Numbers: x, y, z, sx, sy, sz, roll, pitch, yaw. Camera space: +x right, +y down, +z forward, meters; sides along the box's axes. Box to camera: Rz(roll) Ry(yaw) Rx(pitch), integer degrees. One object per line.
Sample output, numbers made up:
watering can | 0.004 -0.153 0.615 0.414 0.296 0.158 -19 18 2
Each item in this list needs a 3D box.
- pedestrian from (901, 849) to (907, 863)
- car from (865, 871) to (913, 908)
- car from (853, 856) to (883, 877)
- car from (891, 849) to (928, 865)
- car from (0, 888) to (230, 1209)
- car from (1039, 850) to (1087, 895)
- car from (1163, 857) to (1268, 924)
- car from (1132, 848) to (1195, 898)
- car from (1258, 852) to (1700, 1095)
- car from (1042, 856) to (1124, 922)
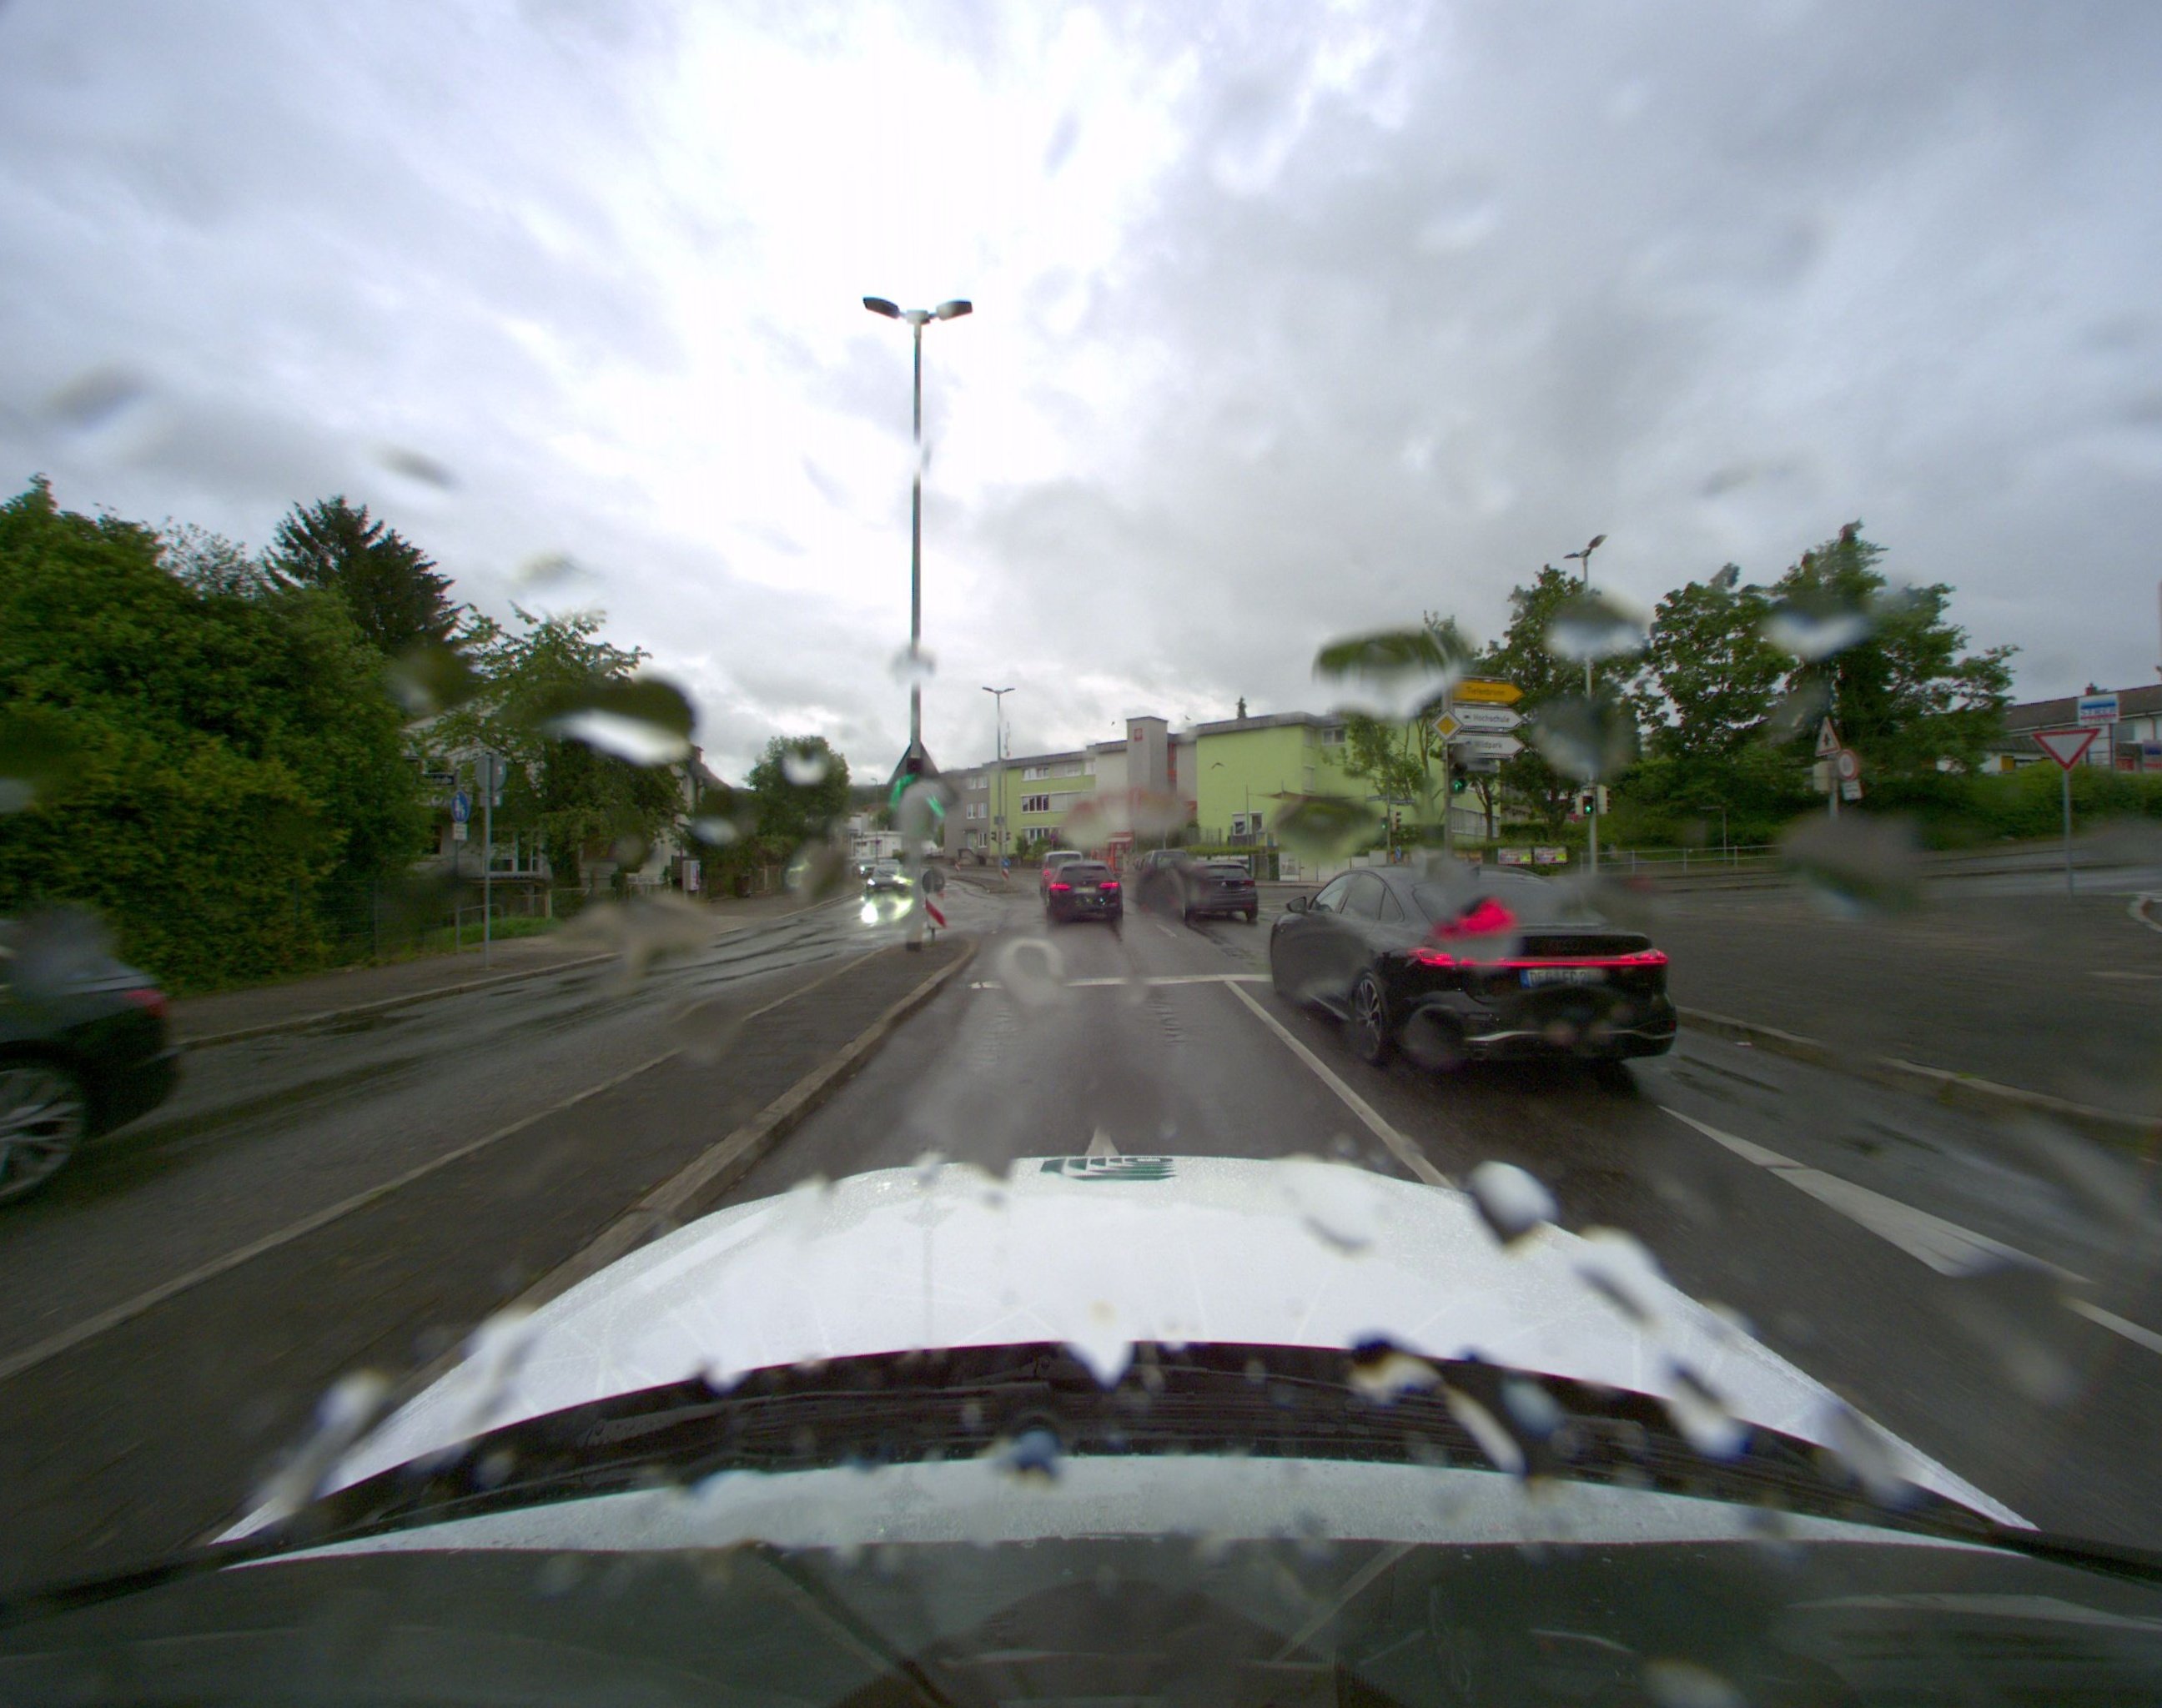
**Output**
pedestrian | -20.683 0.217 95.007 0.424 1.620 0.468 -3 -1 -41
car | -8.987 1.633 38.339 1.792 1.489 4.141 -3 0 -9
car | -17.437 1.048 66.516 1.629 1.581 3.742 -3 0 -25
car | -21.478 0.387 101.867 4.403 1.772 1.990 -3 0 -15
car | -5.804 0.937 2.462 1.733 1.437 4.553 -2 0 -2
car | -0.856 0.750 36.122 1.715 1.844 4.077 -1 0 -7
car | 3.350 0.849 21.010 1.845 1.486 4.083 -2 0 -2
car | 3.094 0.692 31.328 1.779 1.734 4.083 -3 0 -2
car | 2.886 0.709 7.151 1.701 1.427 4.509 -1 0 1
car | -0.036 0.819 21.158 1.680 1.506 3.765 -2 0 -6
